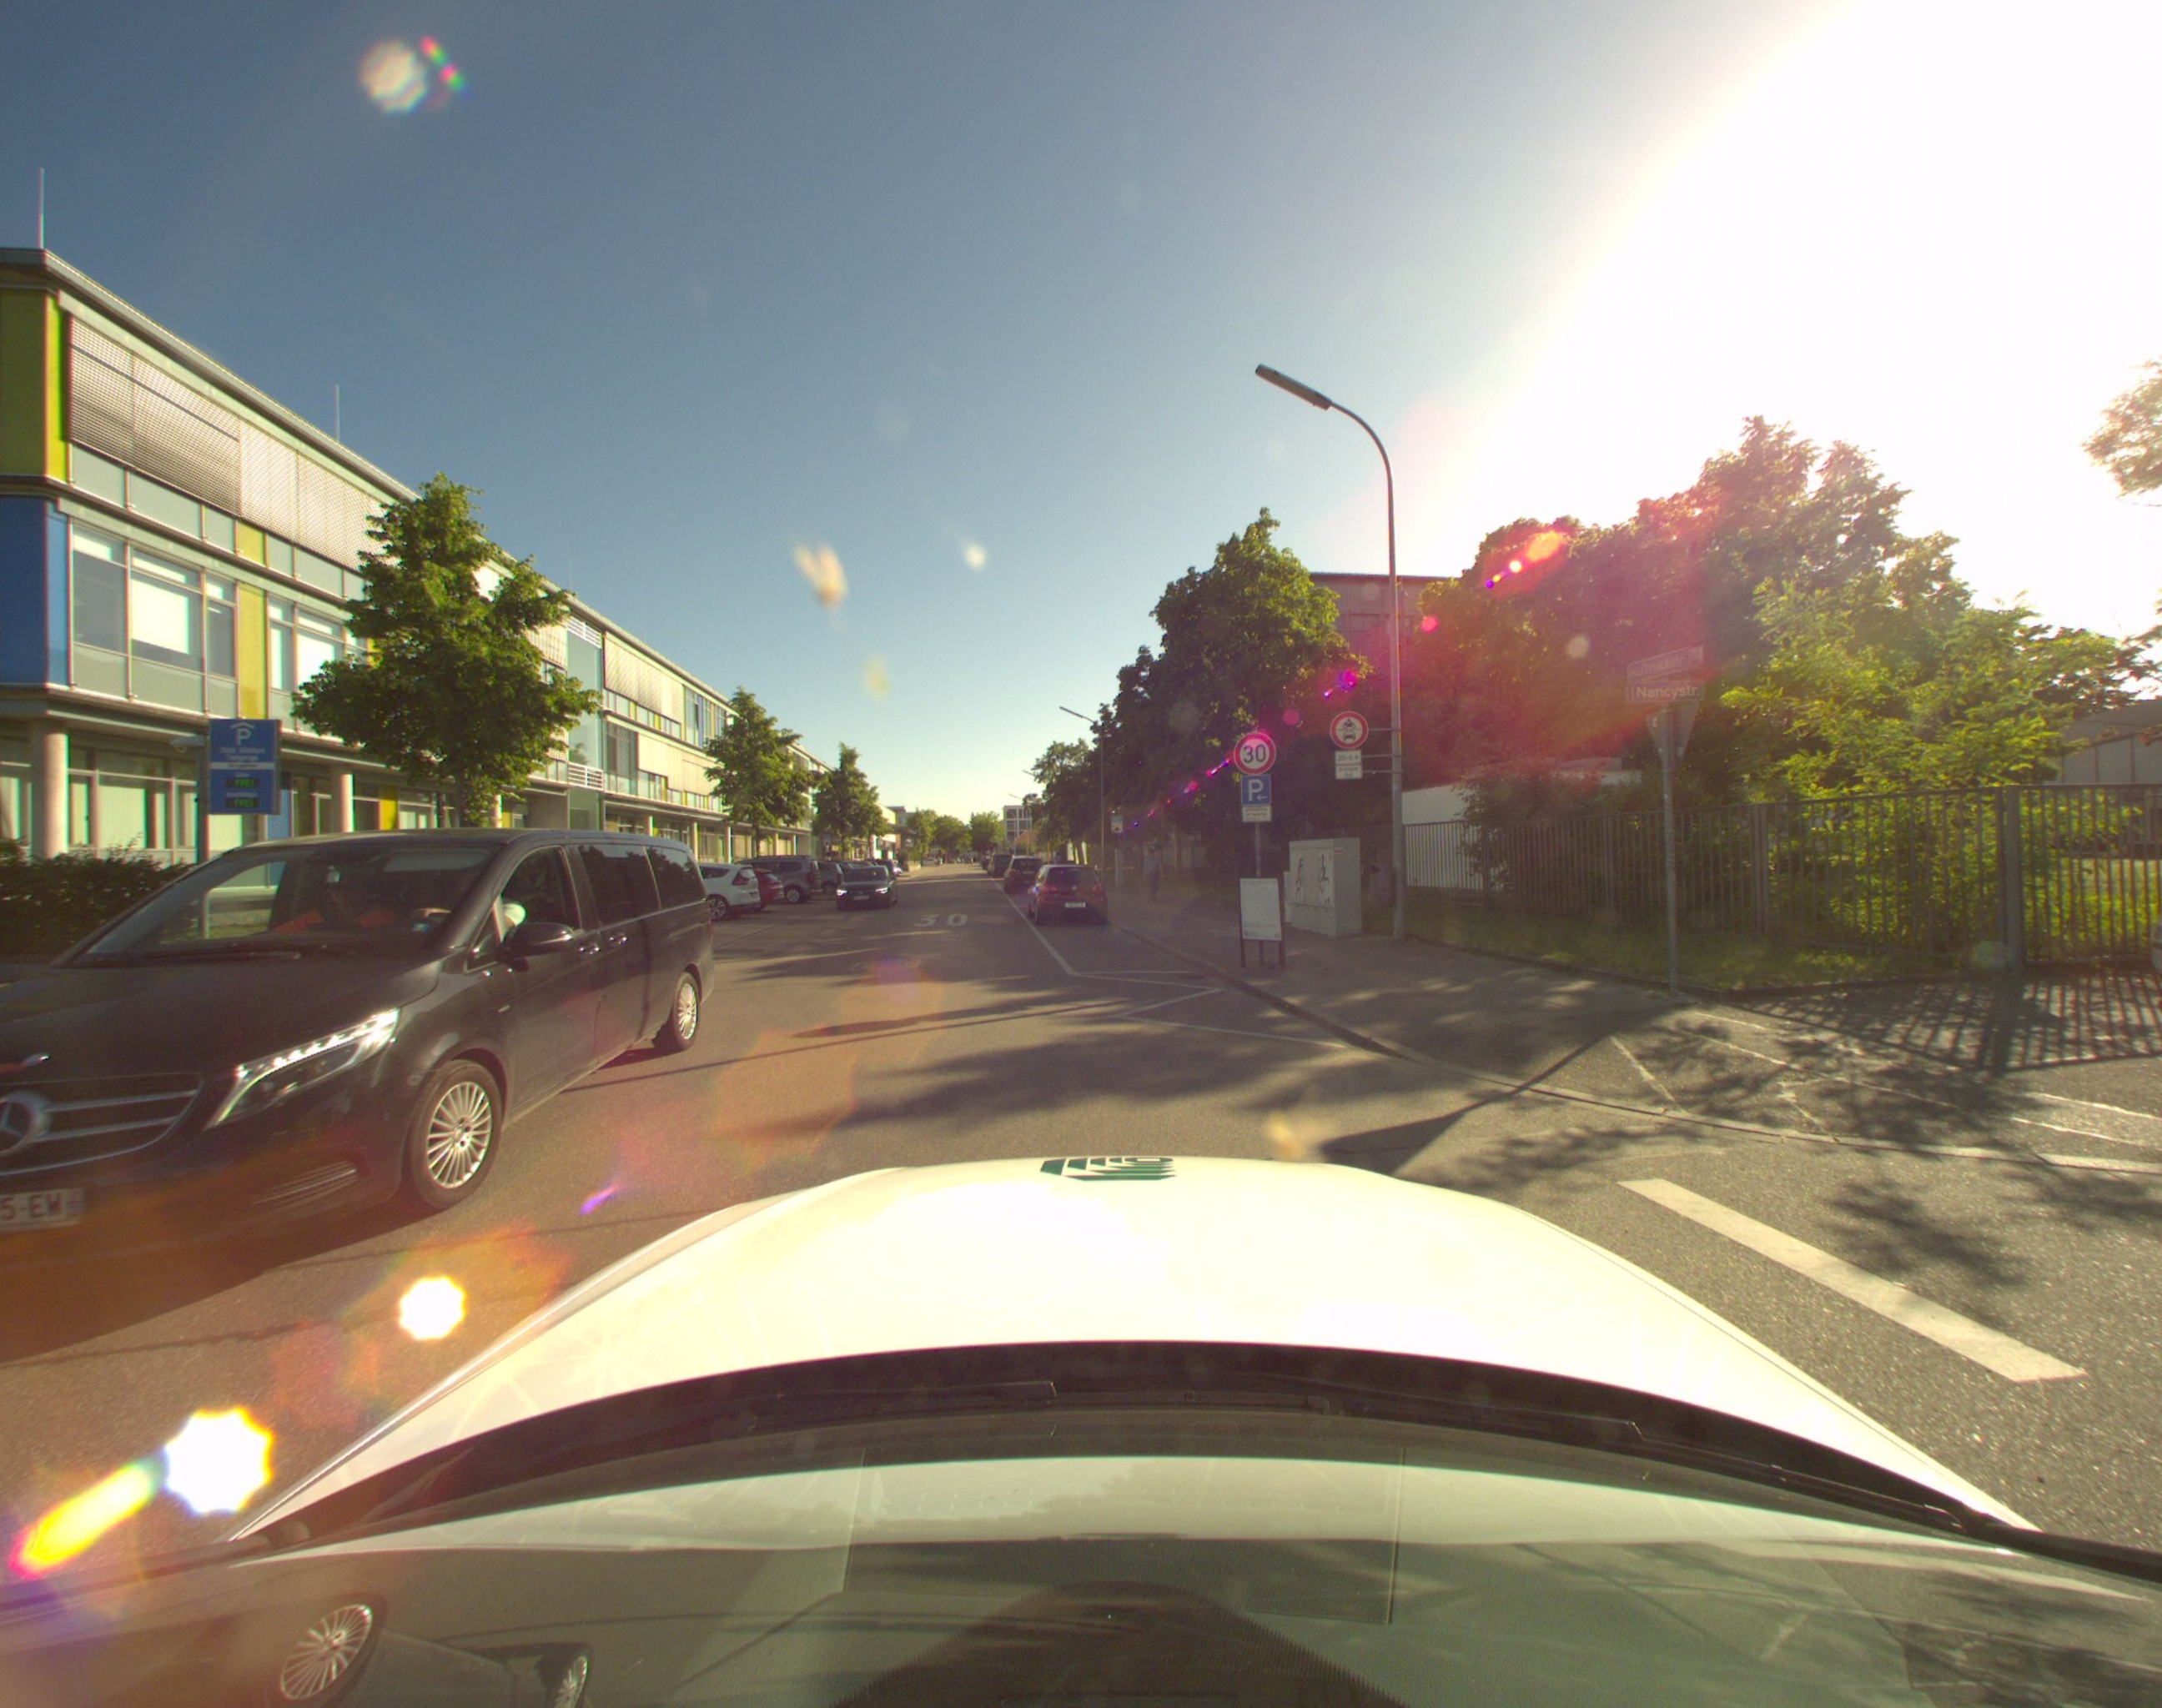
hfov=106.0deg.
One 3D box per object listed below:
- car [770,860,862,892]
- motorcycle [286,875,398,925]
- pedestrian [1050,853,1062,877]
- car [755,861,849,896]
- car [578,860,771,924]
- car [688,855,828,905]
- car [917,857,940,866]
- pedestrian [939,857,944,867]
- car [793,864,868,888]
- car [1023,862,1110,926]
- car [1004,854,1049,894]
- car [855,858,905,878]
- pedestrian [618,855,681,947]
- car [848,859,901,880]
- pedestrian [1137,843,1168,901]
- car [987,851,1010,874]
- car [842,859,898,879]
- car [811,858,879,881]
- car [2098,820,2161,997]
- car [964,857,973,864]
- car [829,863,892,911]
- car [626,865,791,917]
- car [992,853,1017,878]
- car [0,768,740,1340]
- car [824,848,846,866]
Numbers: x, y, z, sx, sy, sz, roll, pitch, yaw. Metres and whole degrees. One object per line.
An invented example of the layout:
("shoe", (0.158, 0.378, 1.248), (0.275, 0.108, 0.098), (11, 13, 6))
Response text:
("car", (-13.509, 1.099, 41.698), (4.249, 1.612, 2.040), (0, 0, -12))
("motorcycle", (-18.006, 1.120, 19.878), (2.043, 1.149, 0.497), (1, 0, -11))
("pedestrian", (-1.765, 0.753, 57.566), (0.698, 1.661, 0.749), (-4, 0, -8))
("car", (-13.196, 1.125, 38.766), (3.989, 1.607, 1.864), (0, 0, -12))
("car", (-11.648, 1.060, 23.593), (4.604, 1.651, 1.864), (-1, -1, -5))
("car", (-12.509, 0.969, 31.819), (4.739, 1.865, 1.823), (0, 0, -8))
("car", (-27.441, 1.332, 146.926), (3.984, 1.519, 1.994), (-1, -1, -8))
("pedestrian", (-24.027, 1.387, 140.273), (0.618, 1.624, 0.714), (-2, 0, -8))
("car", (-14.518, 1.269, 47.433), (3.989, 1.358, 1.736), (0, 0, -12))
("car", (-0.497, 0.940, 21.314), (1.719, 1.455, 4.638), (0, 0, -8))
("car", (-2.550, 0.858, 37.181), (1.810, 1.666, 4.582), (0, 1, -7))
("car", (-17.039, 1.144, 69.157), (3.988, 1.552, 1.993), (-1, 0, -11))
("pedestrian", (-8.821, 0.939, 16.670), (0.856, 1.842, 0.824), (1, -1, -6))
("car", (-16.847, 1.263, 66.656), (3.988, 1.552, 1.993), (-2, 0, -11))
("pedestrian", (2.255, 0.567, 25.688), (0.717, 1.758, 0.882), (-4, 0, -7))
("car", (-7.523, 0.773, 74.199), (1.873, 1.978, 3.989), (-2, 0, -8))
("car", (-16.587, 1.171, 64.240), (4.216, 1.603, 1.864), (0, 0, -12))
("car", (-15.672, 1.024, 54.286), (4.216, 1.462, 1.864), (0, 0, -12))
("car", (10.865, 0.408, 6.644), (3.543, 1.486, 1.596), (-2, 0, -7))
("car", (-22.895, 1.316, 165.573), (1.742, 1.543, 3.989), (-1, 0, -8))
("car", (-7.593, 1.088, 28.337), (1.704, 1.451, 4.071), (-3, 0, -11))
("car", (-11.864, 1.146, 26.220), (4.431, 1.501, 1.822), (-1, -1, -8))
("car", (-5.837, 0.851, 61.858), (1.731, 1.830, 3.895), (-1, 0, -7))
("car", (-4.035, 0.688, 5.286), (1.953, 1.867, 5.241), (-3, 0, -7))
("car", (-30.552, 0.390, 101.282), (1.992, 2.014, 3.989), (-1, -1, -8))
